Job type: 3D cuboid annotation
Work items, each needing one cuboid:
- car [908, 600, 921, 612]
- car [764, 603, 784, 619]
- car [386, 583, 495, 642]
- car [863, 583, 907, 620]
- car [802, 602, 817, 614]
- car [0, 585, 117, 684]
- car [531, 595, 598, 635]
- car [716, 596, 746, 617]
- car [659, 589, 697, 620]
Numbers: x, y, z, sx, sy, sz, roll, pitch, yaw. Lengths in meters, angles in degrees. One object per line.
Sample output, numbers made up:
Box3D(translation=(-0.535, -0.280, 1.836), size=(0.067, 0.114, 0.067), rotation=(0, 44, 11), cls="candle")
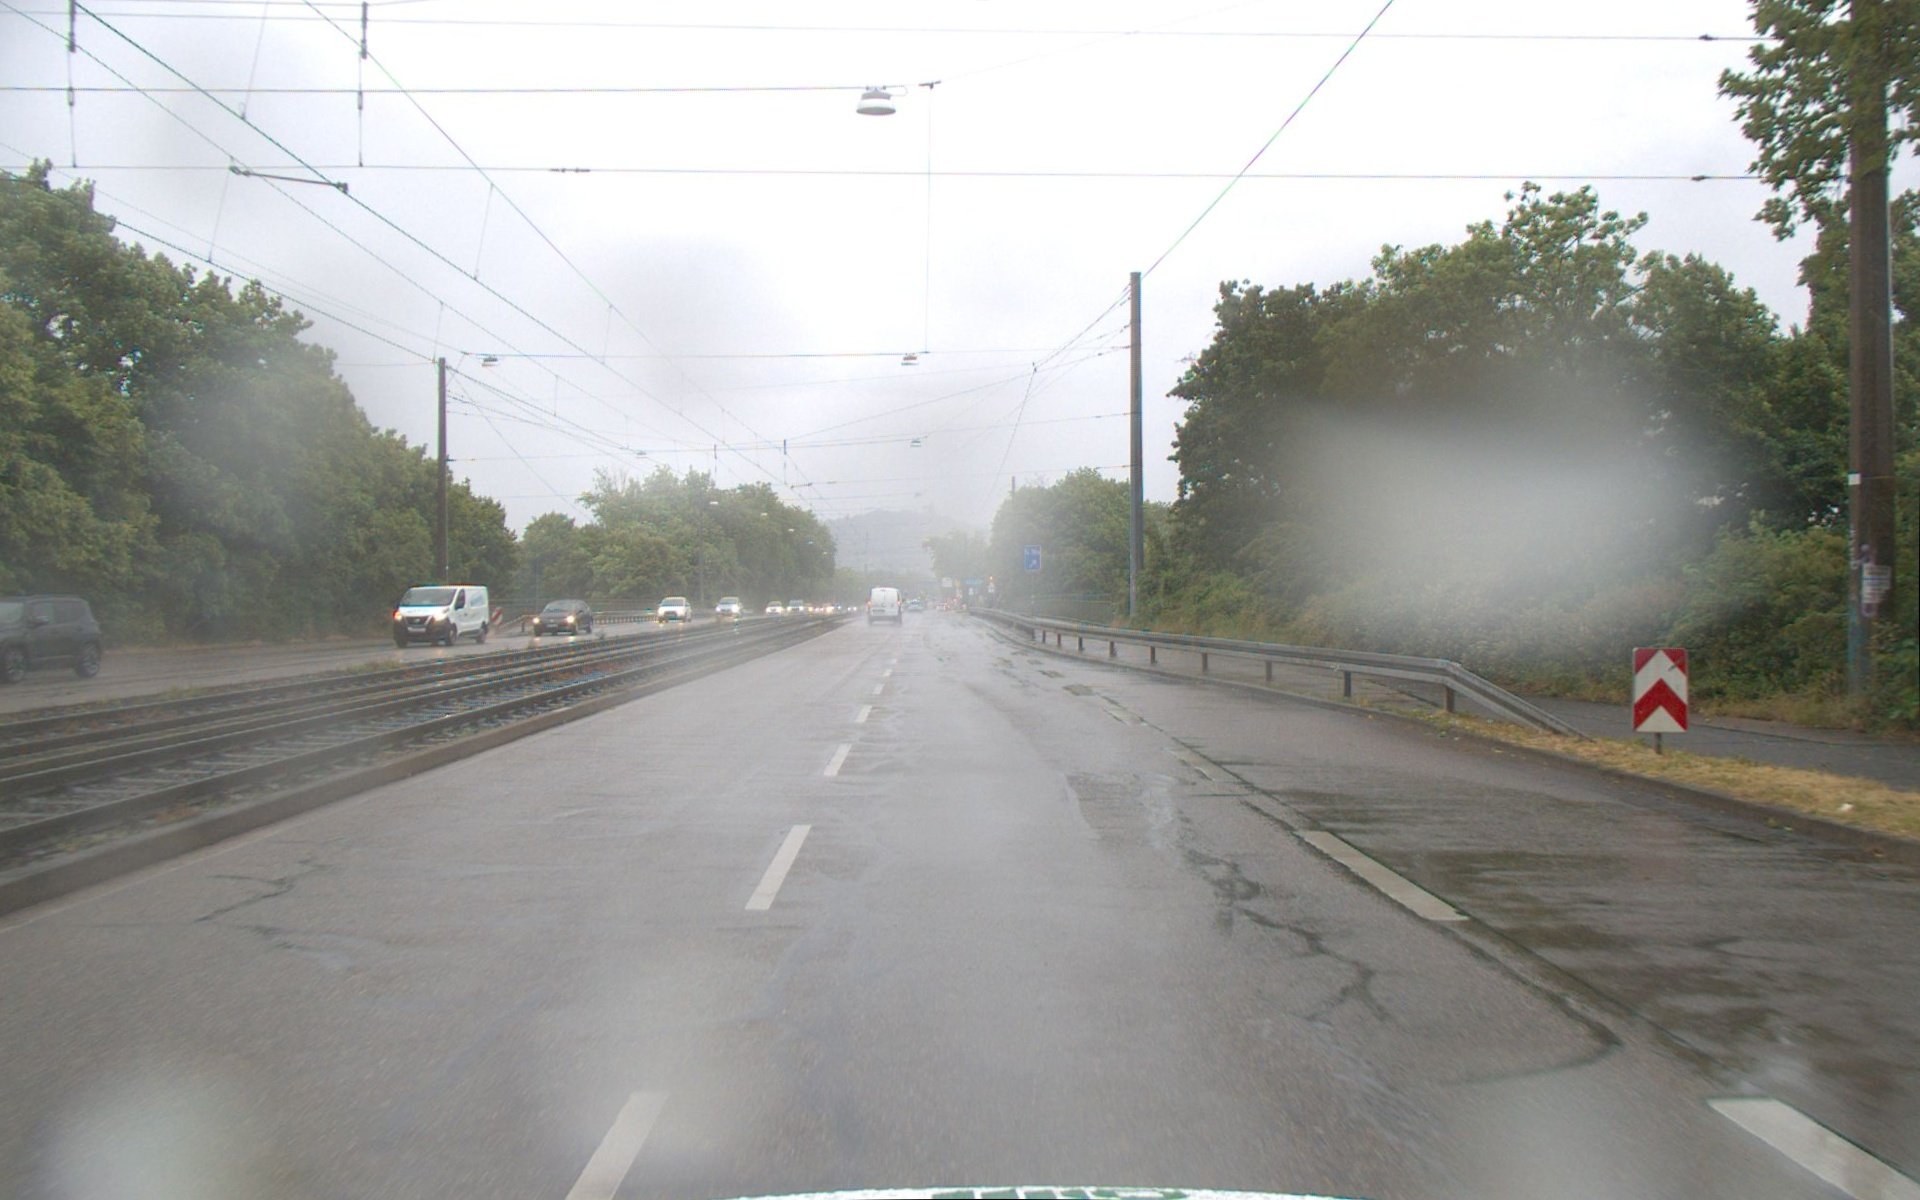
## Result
Box3D(translation=(-6.044, 0.795, 219.566), size=(1.708, 1.534, 3.699), rotation=(1, 1, -1), cls="car")
Box3D(translation=(-19.174, 1.127, 170.666), size=(1.708, 1.534, 3.699), rotation=(1, 1, -1), cls="car")
Box3D(translation=(-17.301, 0.379, 55.391), size=(1.998, 1.806, 4.986), rotation=(1, 1, 1), cls="car")
Box3D(translation=(-3.720, 0.053, 82.859), size=(1.948, 1.713, 3.740), rotation=(1, 1, 0), cls="car")
Box3D(translation=(-19.643, 1.040, 216.371), size=(1.708, 1.534, 3.699), rotation=(1, 1, -1), cls="car")
Box3D(translation=(-18.523, 0.614, 32.365), size=(1.803, 1.746, 4.164), rotation=(1, 1, 2), cls="car")
Box3D(translation=(-17.127, 0.635, 71.823), size=(1.654, 1.545, 4.613), rotation=(1, 1, 2), cls="car")
Box3D(translation=(-17.664, 0.476, 127.796), size=(1.761, 1.478, 4.194), rotation=(1, 1, 0), cls="car")
Box3D(translation=(-17.322, 0.256, 101.612), size=(1.719, 1.741, 3.999), rotation=(1, 1, -1), cls="car")
